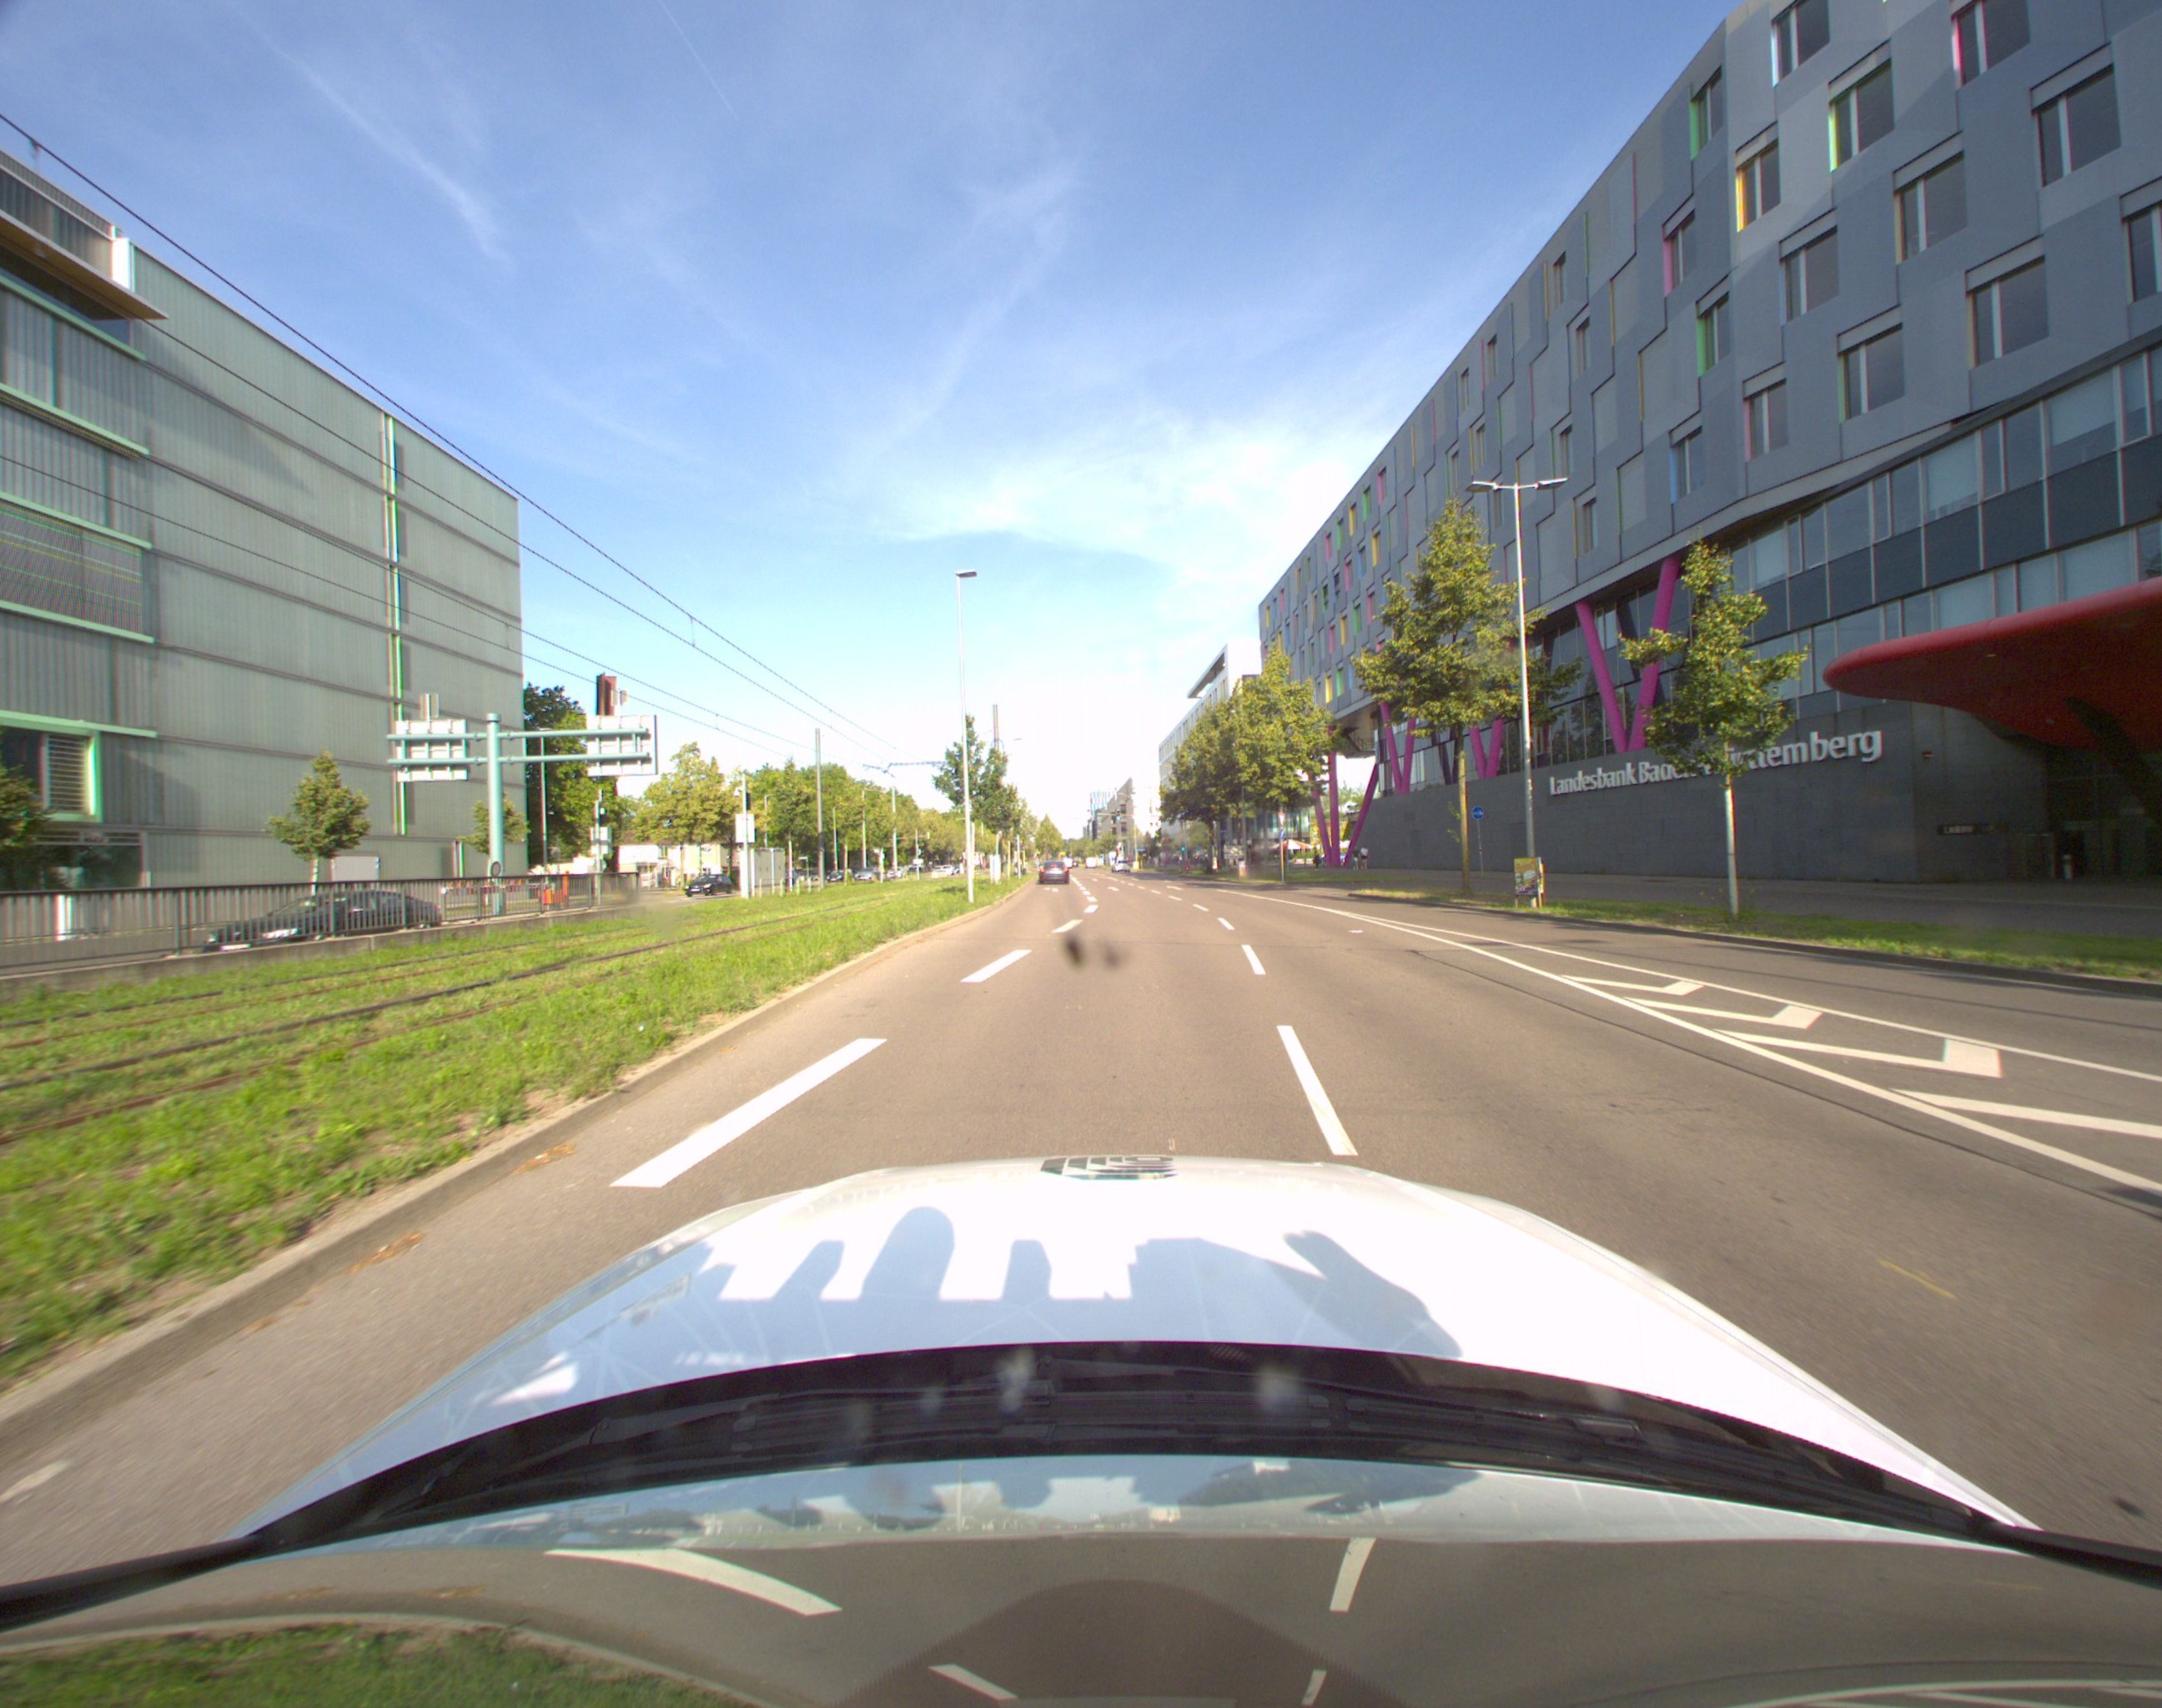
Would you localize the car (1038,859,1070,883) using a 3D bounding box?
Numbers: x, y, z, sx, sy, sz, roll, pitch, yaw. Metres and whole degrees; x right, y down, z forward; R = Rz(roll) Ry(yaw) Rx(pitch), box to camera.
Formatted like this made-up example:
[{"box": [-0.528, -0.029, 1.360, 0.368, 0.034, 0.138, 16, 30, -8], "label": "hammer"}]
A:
[{"box": [-1.639, 1.032, 50.131, 1.885, 1.386, 4.331, 0, 0, -2], "label": "car"}]

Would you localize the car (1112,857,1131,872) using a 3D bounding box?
[{"box": [4.553, 1.166, 91.370, 1.859, 1.684, 3.998, 0, 0, -1], "label": "car"}]

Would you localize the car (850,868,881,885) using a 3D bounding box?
[{"box": [-22.537, 2.307, 85.258, 1.989, 1.527, 4.907, -5, 0, -3], "label": "car"}]

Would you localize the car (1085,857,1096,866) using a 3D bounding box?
[{"box": [1.765, 1.388, 149.771, 1.859, 1.684, 3.998, 0, 0, -1], "label": "car"}]

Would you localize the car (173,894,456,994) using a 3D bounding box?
[{"box": [-16.948, 1.890, 18.451, 1.988, 1.687, 4.722, -2, 0, -2], "label": "car"}]

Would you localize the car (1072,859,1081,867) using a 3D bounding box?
[{"box": [-1.016, 1.820, 171.933, 1.918, 1.684, 3.998, 0, 0, -1], "label": "car"}]

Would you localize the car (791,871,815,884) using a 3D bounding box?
[{"box": [-40.608, 3.486, 119.199, 1.873, 1.750, 4.004, -2, -1, 4], "label": "car"}]

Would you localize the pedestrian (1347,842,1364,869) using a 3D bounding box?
[{"box": [19.428, 0.103, 57.674, 0.752, 1.793, 0.843, -4, -1, -3], "label": "pedestrian"}]

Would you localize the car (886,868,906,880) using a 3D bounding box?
[{"box": [-25.449, 2.717, 112.187, 1.900, 1.528, 4.438, -2, 0, -2], "label": "car"}]

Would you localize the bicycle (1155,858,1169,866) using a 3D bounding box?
[{"box": [11.809, 1.163, 118.897, 1.855, 1.032, 0.778, -2, 0, 45], "label": "bicycle"}]

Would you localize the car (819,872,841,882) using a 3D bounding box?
[{"box": [-40.059, 3.628, 130.032, 1.873, 1.559, 4.004, -2, -1, 4], "label": "car"}]

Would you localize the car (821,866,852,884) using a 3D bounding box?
[{"box": [-26.045, 2.203, 86.921, 1.988, 1.687, 4.612, -2, 0, -2], "label": "car"}]

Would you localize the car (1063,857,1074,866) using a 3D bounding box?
[{"box": [-2.299, 1.385, 148.499, 2.009, 1.684, 3.998, 0, 0, -1], "label": "car"}]

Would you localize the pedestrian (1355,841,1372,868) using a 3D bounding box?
[{"box": [20.066, 0.029, 57.760, 0.766, 1.825, 0.852, -4, -1, -3], "label": "pedestrian"}]

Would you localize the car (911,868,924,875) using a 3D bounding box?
[{"box": [-37.044, 3.910, 185.125, 1.873, 1.559, 4.004, -2, -1, 4], "label": "car"}]

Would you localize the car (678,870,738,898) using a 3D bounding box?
[{"box": [-25.052, 2.000, 54.914, 1.988, 1.687, 4.722, -2, 0, -2], "label": "car"}]

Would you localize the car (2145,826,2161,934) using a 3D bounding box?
[{"box": [14.930, 0.309, 8.644, 1.688, 1.390, 4.194, -2, 0, -3], "label": "car"}]

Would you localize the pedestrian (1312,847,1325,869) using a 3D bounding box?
[{"box": [18.190, 0.326, 62.340, 0.692, 1.639, 0.736, -4, -1, -3], "label": "pedestrian"}]

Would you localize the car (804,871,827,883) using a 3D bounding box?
[{"box": [-40.380, 3.507, 123.967, 1.873, 1.750, 4.004, -2, -1, 4], "label": "car"}]

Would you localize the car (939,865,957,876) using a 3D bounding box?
[{"box": [-19.306, 2.370, 118.335, 1.988, 1.504, 4.091, -3, -1, -1], "label": "car"}]

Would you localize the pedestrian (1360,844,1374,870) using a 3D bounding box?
[{"box": [20.259, 0.229, 57.688, 0.655, 1.793, 0.785, -3, -1, -3], "label": "pedestrian"}]
